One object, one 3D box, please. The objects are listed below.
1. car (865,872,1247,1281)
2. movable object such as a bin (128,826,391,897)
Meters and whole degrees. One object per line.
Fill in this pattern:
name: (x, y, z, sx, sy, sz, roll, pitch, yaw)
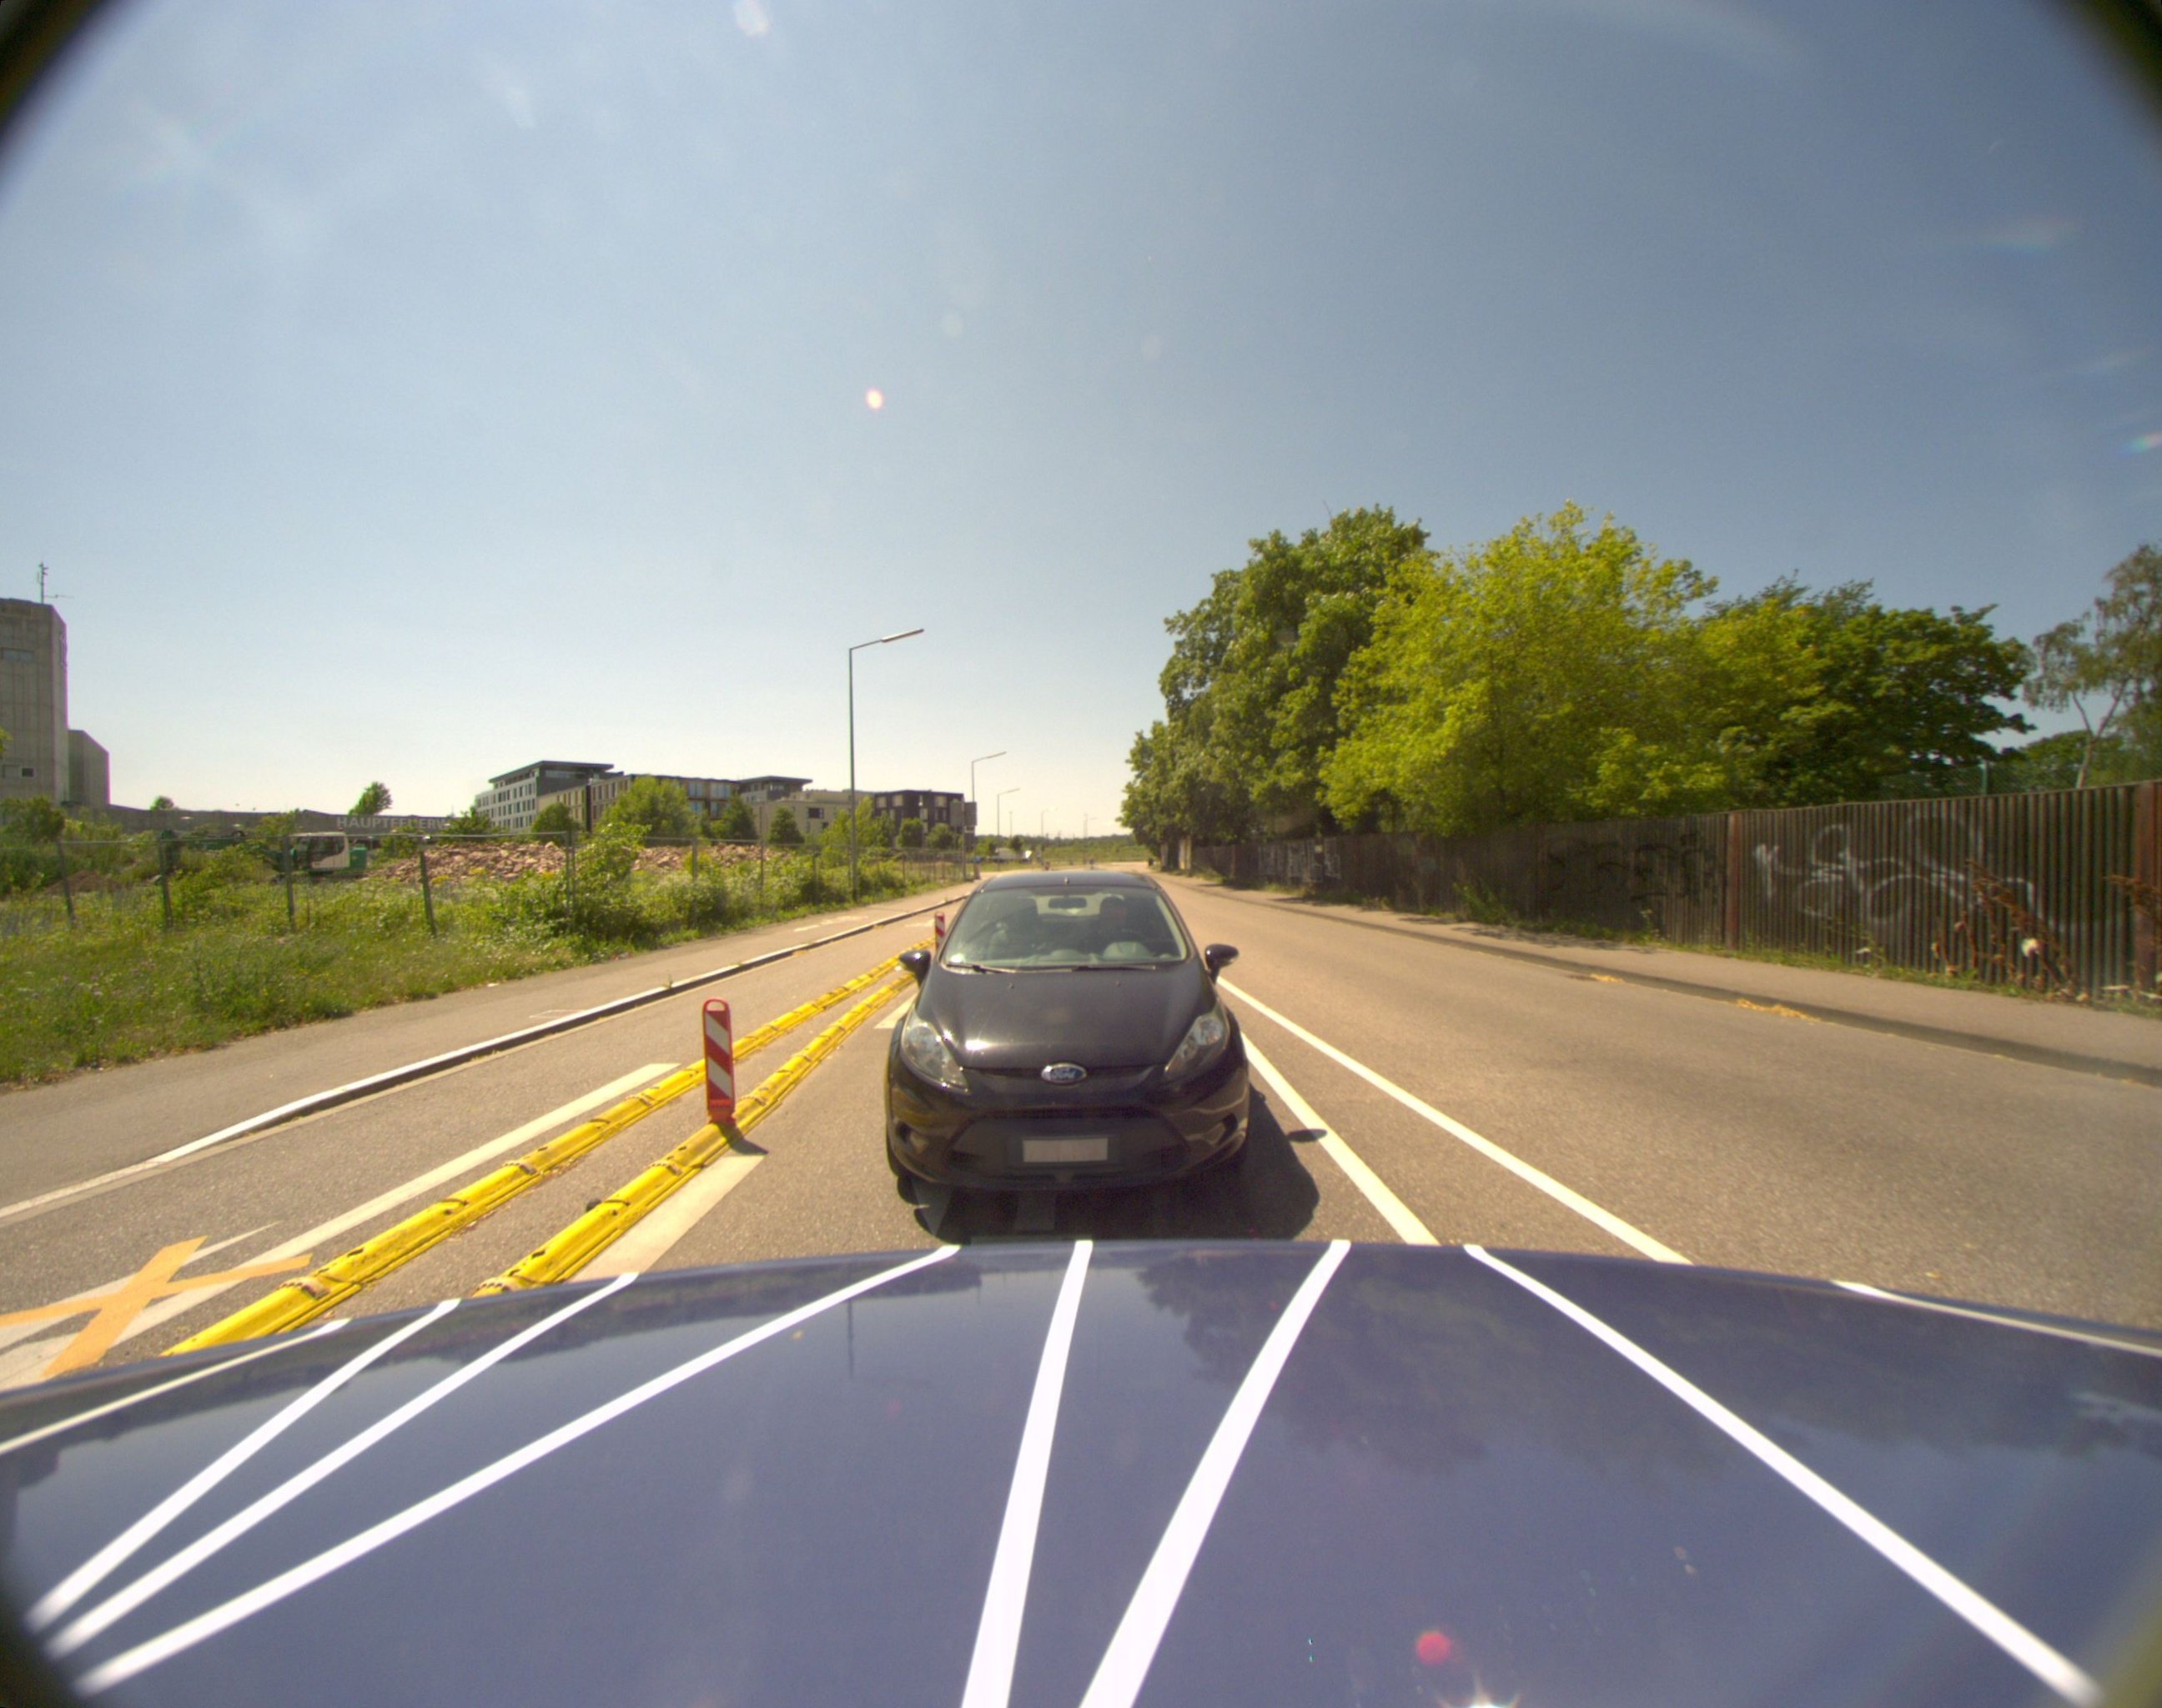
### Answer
car: (-0.075, 0.975, 5.147, 1.528, 1.510, 3.999, -2, 1, 1)
movable object such as a bin: (-38.338, 0.259, 35.995, 3.231, 2.899, 7.702, -2, 1, 15)
